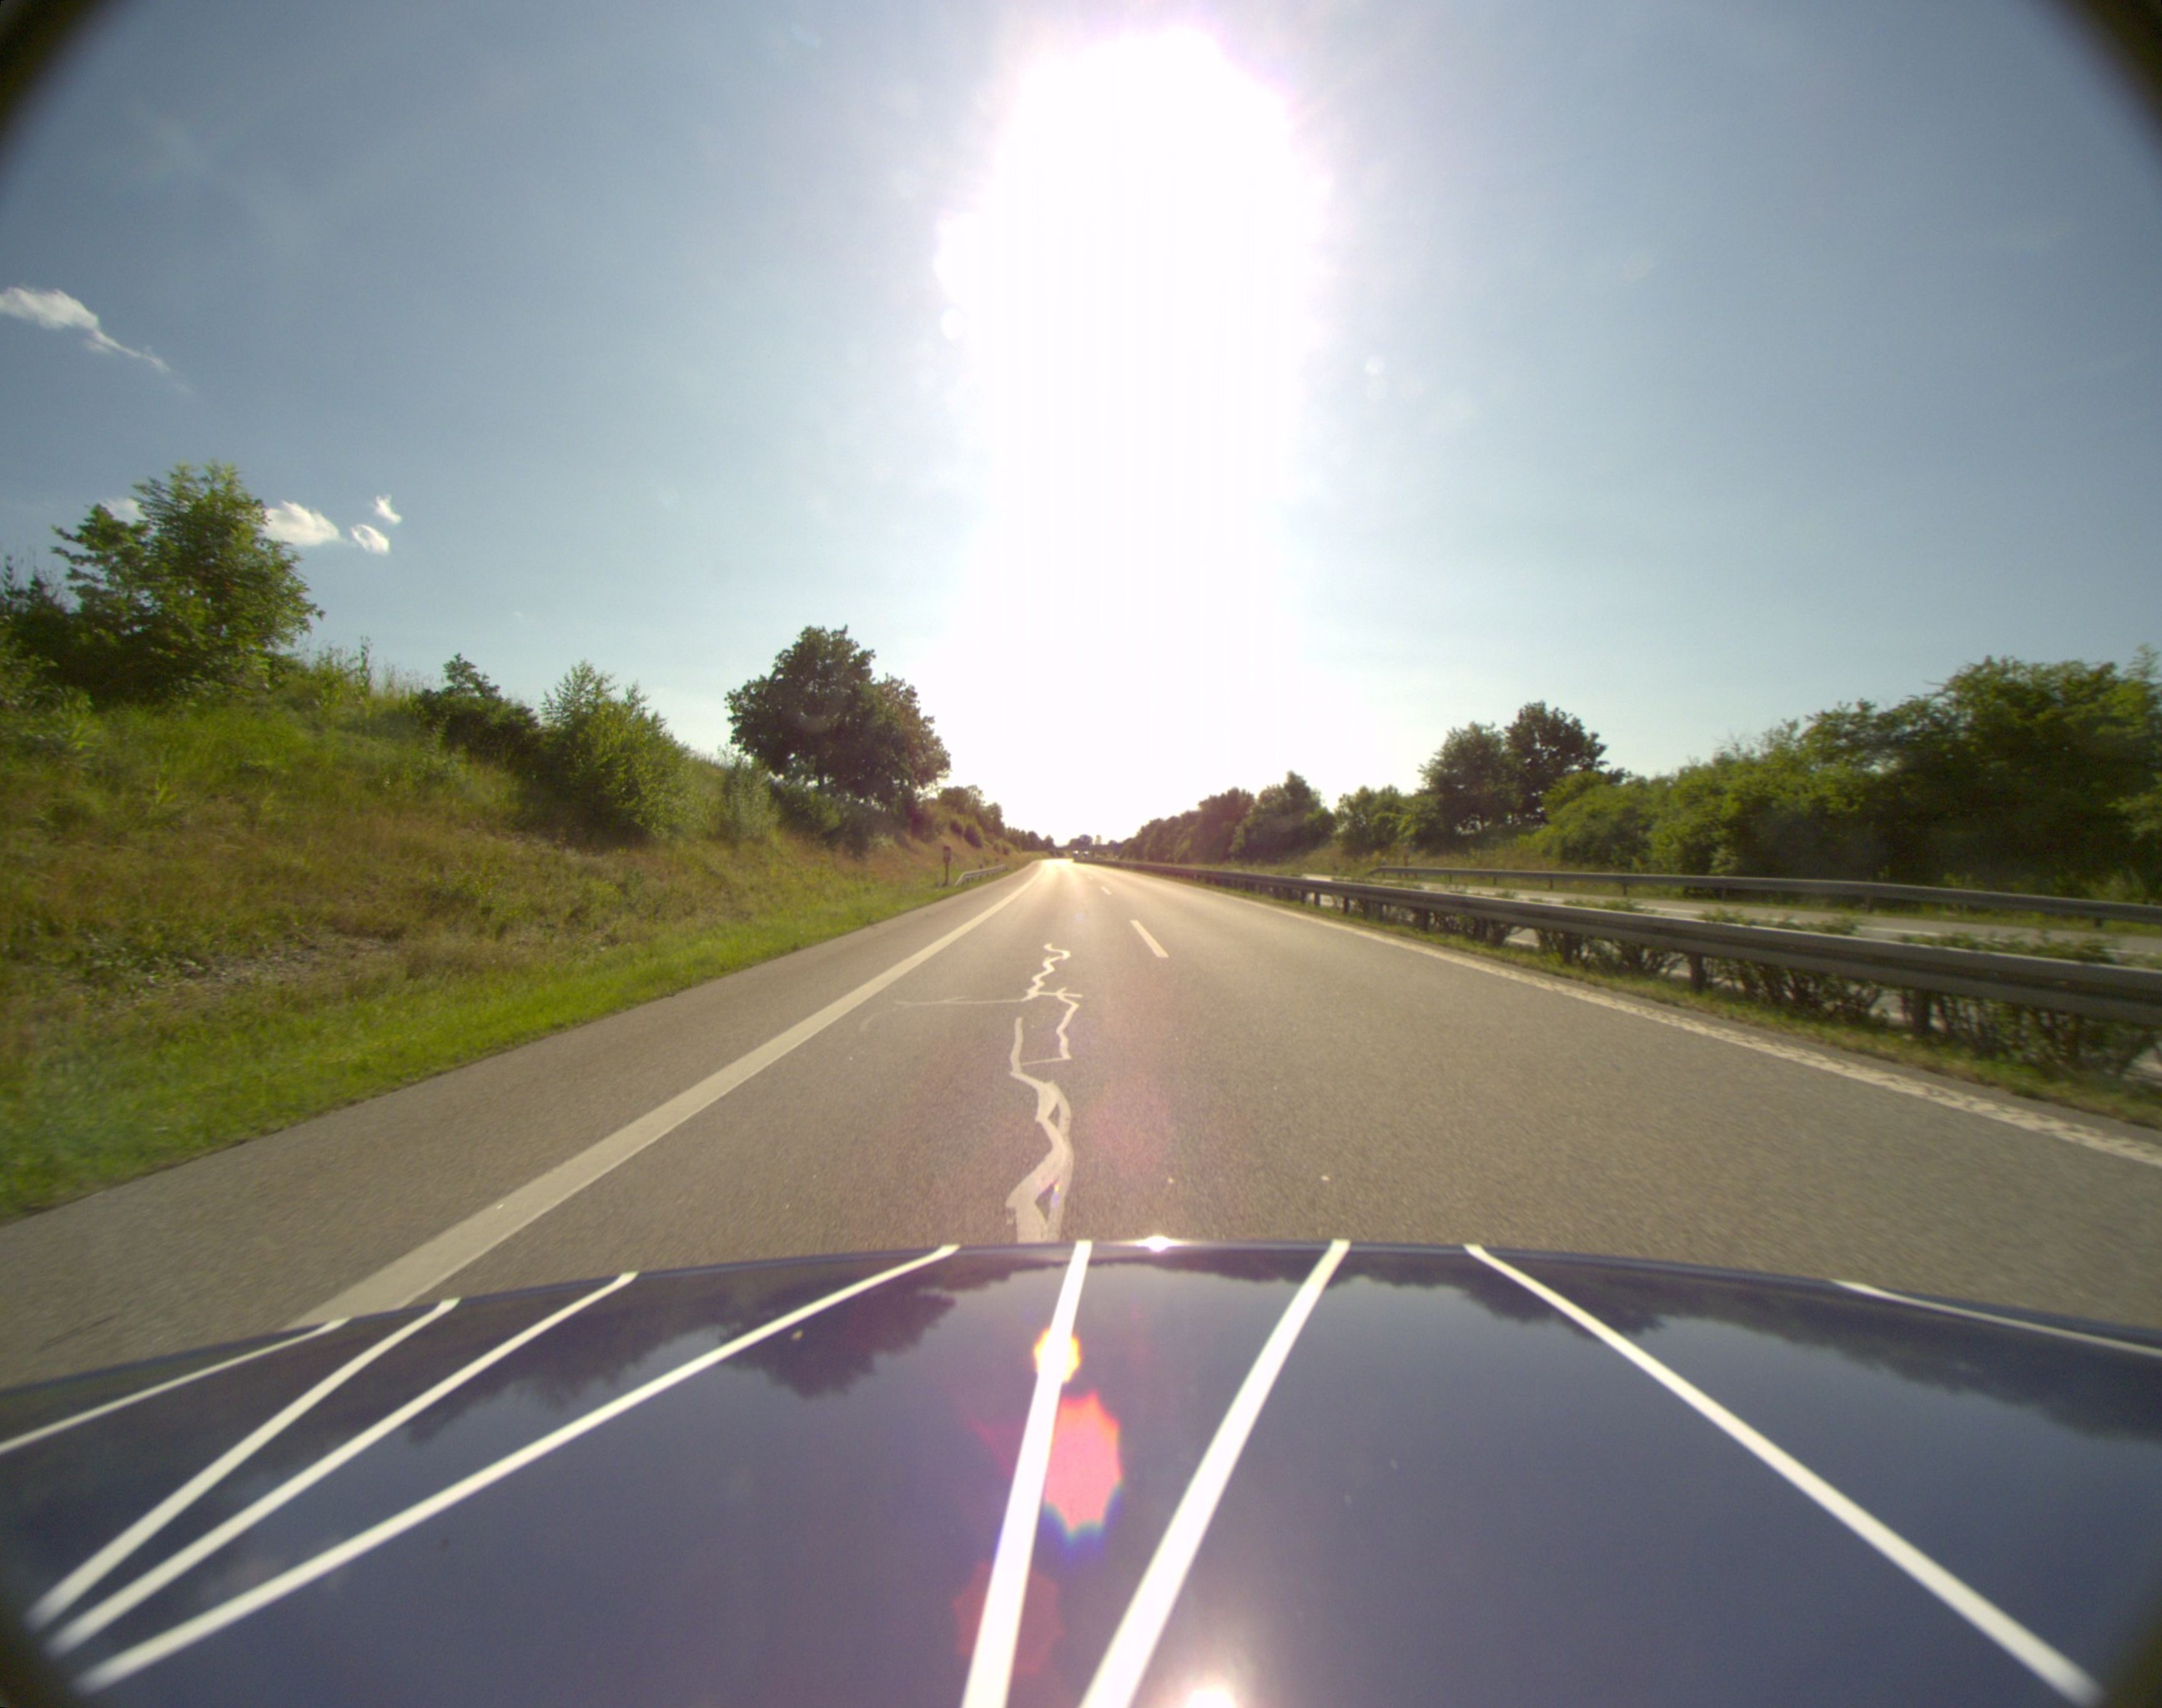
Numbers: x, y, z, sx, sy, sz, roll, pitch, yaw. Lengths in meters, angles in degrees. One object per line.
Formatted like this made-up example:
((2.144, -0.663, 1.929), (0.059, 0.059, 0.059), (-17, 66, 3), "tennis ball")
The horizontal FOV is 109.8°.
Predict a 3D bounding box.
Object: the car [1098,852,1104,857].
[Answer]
((6.692, 0.116, 256.756), (1.772, 1.575, 4.791), (0, 1, -3), "car")
